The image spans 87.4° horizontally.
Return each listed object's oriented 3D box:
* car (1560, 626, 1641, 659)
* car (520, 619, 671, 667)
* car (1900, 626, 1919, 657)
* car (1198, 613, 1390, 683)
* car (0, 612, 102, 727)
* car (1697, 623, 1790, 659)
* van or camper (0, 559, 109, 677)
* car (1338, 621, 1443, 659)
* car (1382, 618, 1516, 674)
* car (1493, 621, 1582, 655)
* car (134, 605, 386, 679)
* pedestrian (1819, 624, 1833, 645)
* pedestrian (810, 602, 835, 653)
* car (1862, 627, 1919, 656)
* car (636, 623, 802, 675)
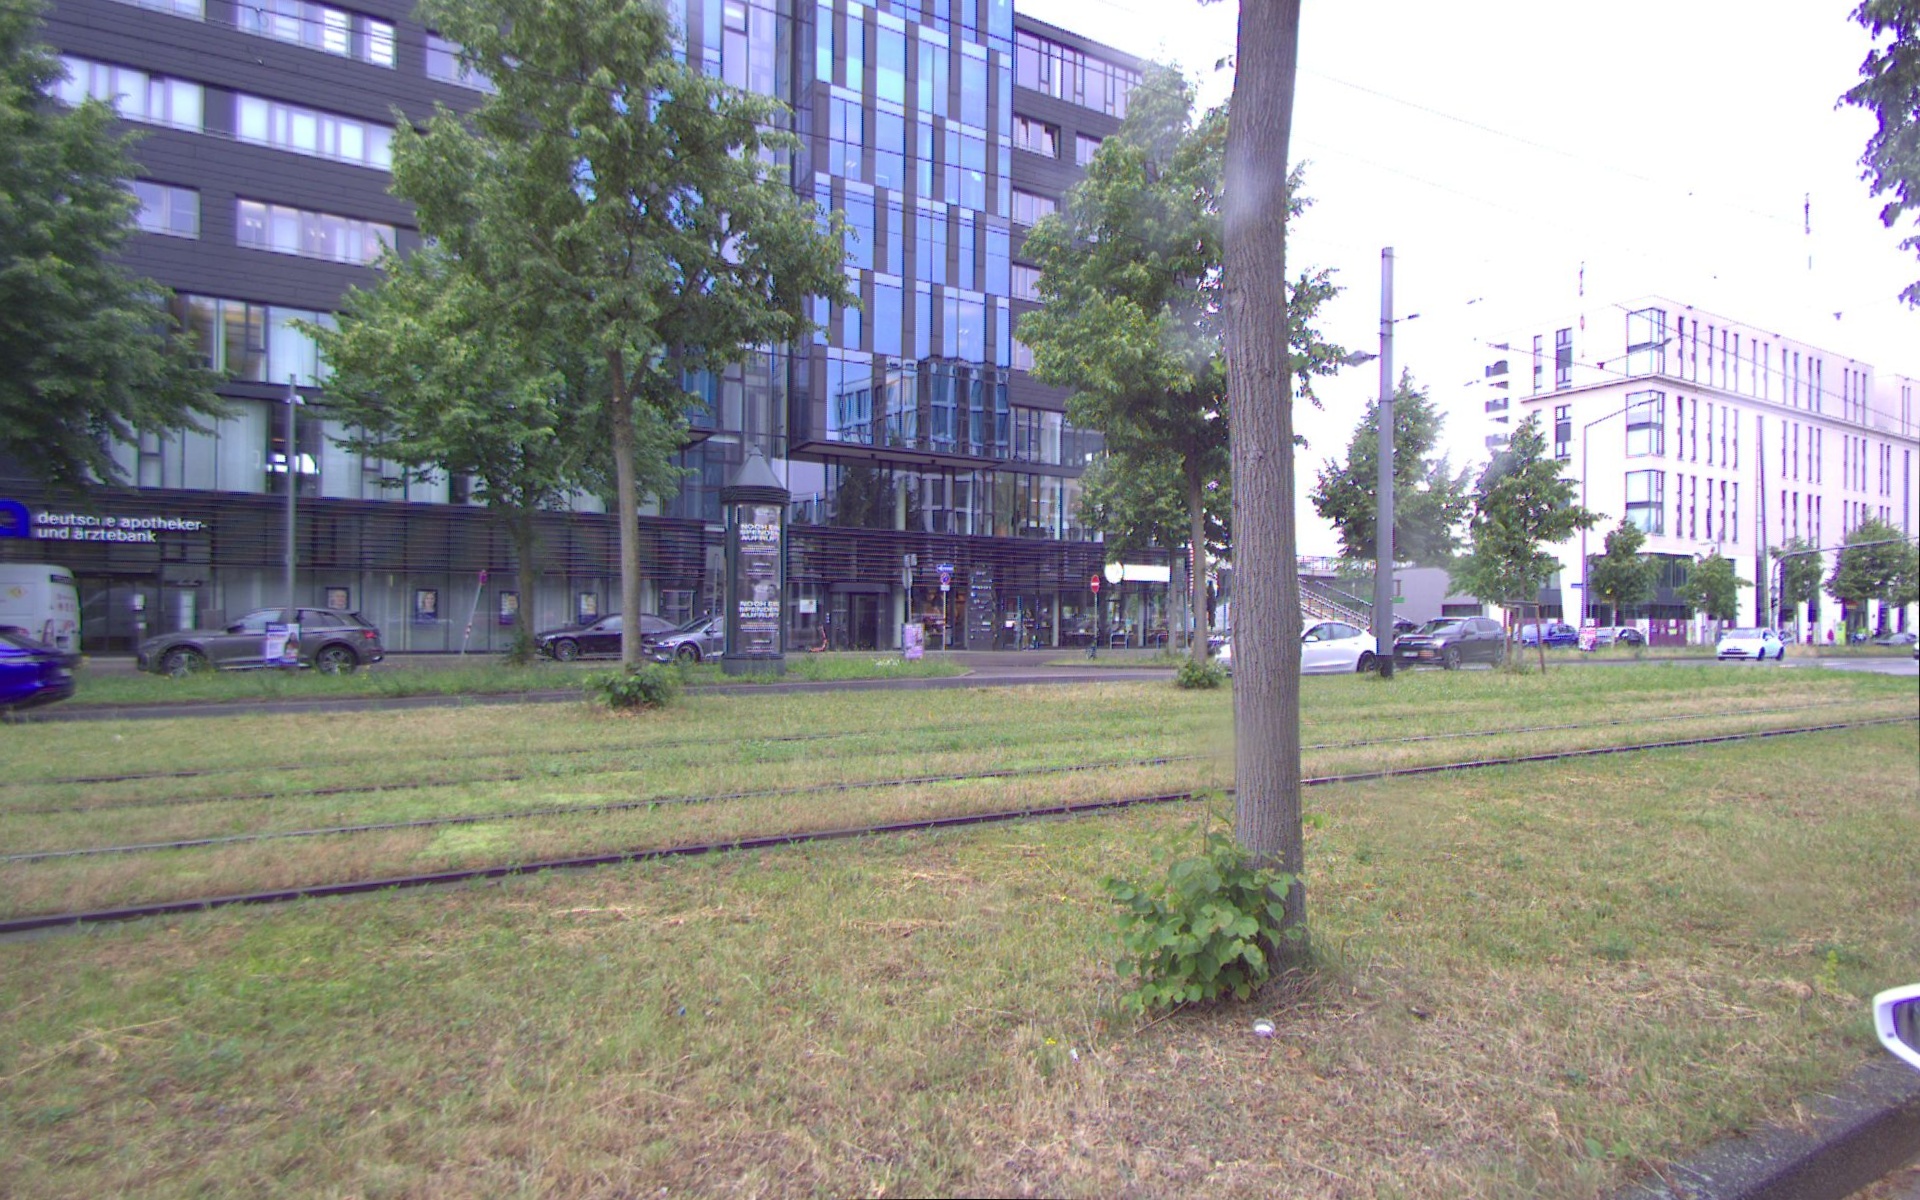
[{"bbox_3d":[33.223,2.175,52.059,4.399,1.620,1.981,1,0,-34],"label":"car"},{"bbox_3d":[-11.915,1.370,32.889,4.397,1.368,1.742,1,2,-31],"label":"car"},{"bbox_3d":[49.504,2.084,50.624,4.395,1.504,1.983,1,0,-31],"label":"car"},{"bbox_3d":[8.036,1.100,24.087,4.393,1.504,1.984,1,0,-30],"label":"car"},{"bbox_3d":[-15.050,0.923,13.557,4.953,1.542,1.983,1,0,-31],"label":"car"},{"bbox_3d":[35.476,1.823,45.451,4.397,1.504,1.982,1,0,-33],"label":"car"},{"bbox_3d":[-21.084,0.331,20.085,5.780,2.346,2.422,1,0,-30],"label":"van or camper"},{"bbox_3d":[18.033,1.639,42.033,4.399,1.504,1.981,1,0,-34],"label":"car"},{"bbox_3d":[15.318,1.395,31.420,3.955,1.639,1.983,1,-1,-31],"label":"car"},{"bbox_3d":[27.841,1.807,48.397,4.399,1.504,1.981,1,0,-34],"label":"car"},{"bbox_3d":[-15.825,0.910,23.068,4.554,1.542,1.983,1,0,-31],"label":"car"},{"bbox_3d":[72.927,2.897,84.562,0.732,1.740,0.633,1,0,-27],"label":"pedestrian"},{"bbox_3d":[-5.565,1.122,40.632,0.782,2.040,0.699,1,0,-28],"label":"pedestrian"},{"bbox_3d":[63.979,2.821,68.959,3.953,1.862,1.984,1,0,-30],"label":"car"},{"bbox_3d":[-7.506,1.484,31.375,4.676,1.424,1.984,1,1,-30],"label":"car"}]
